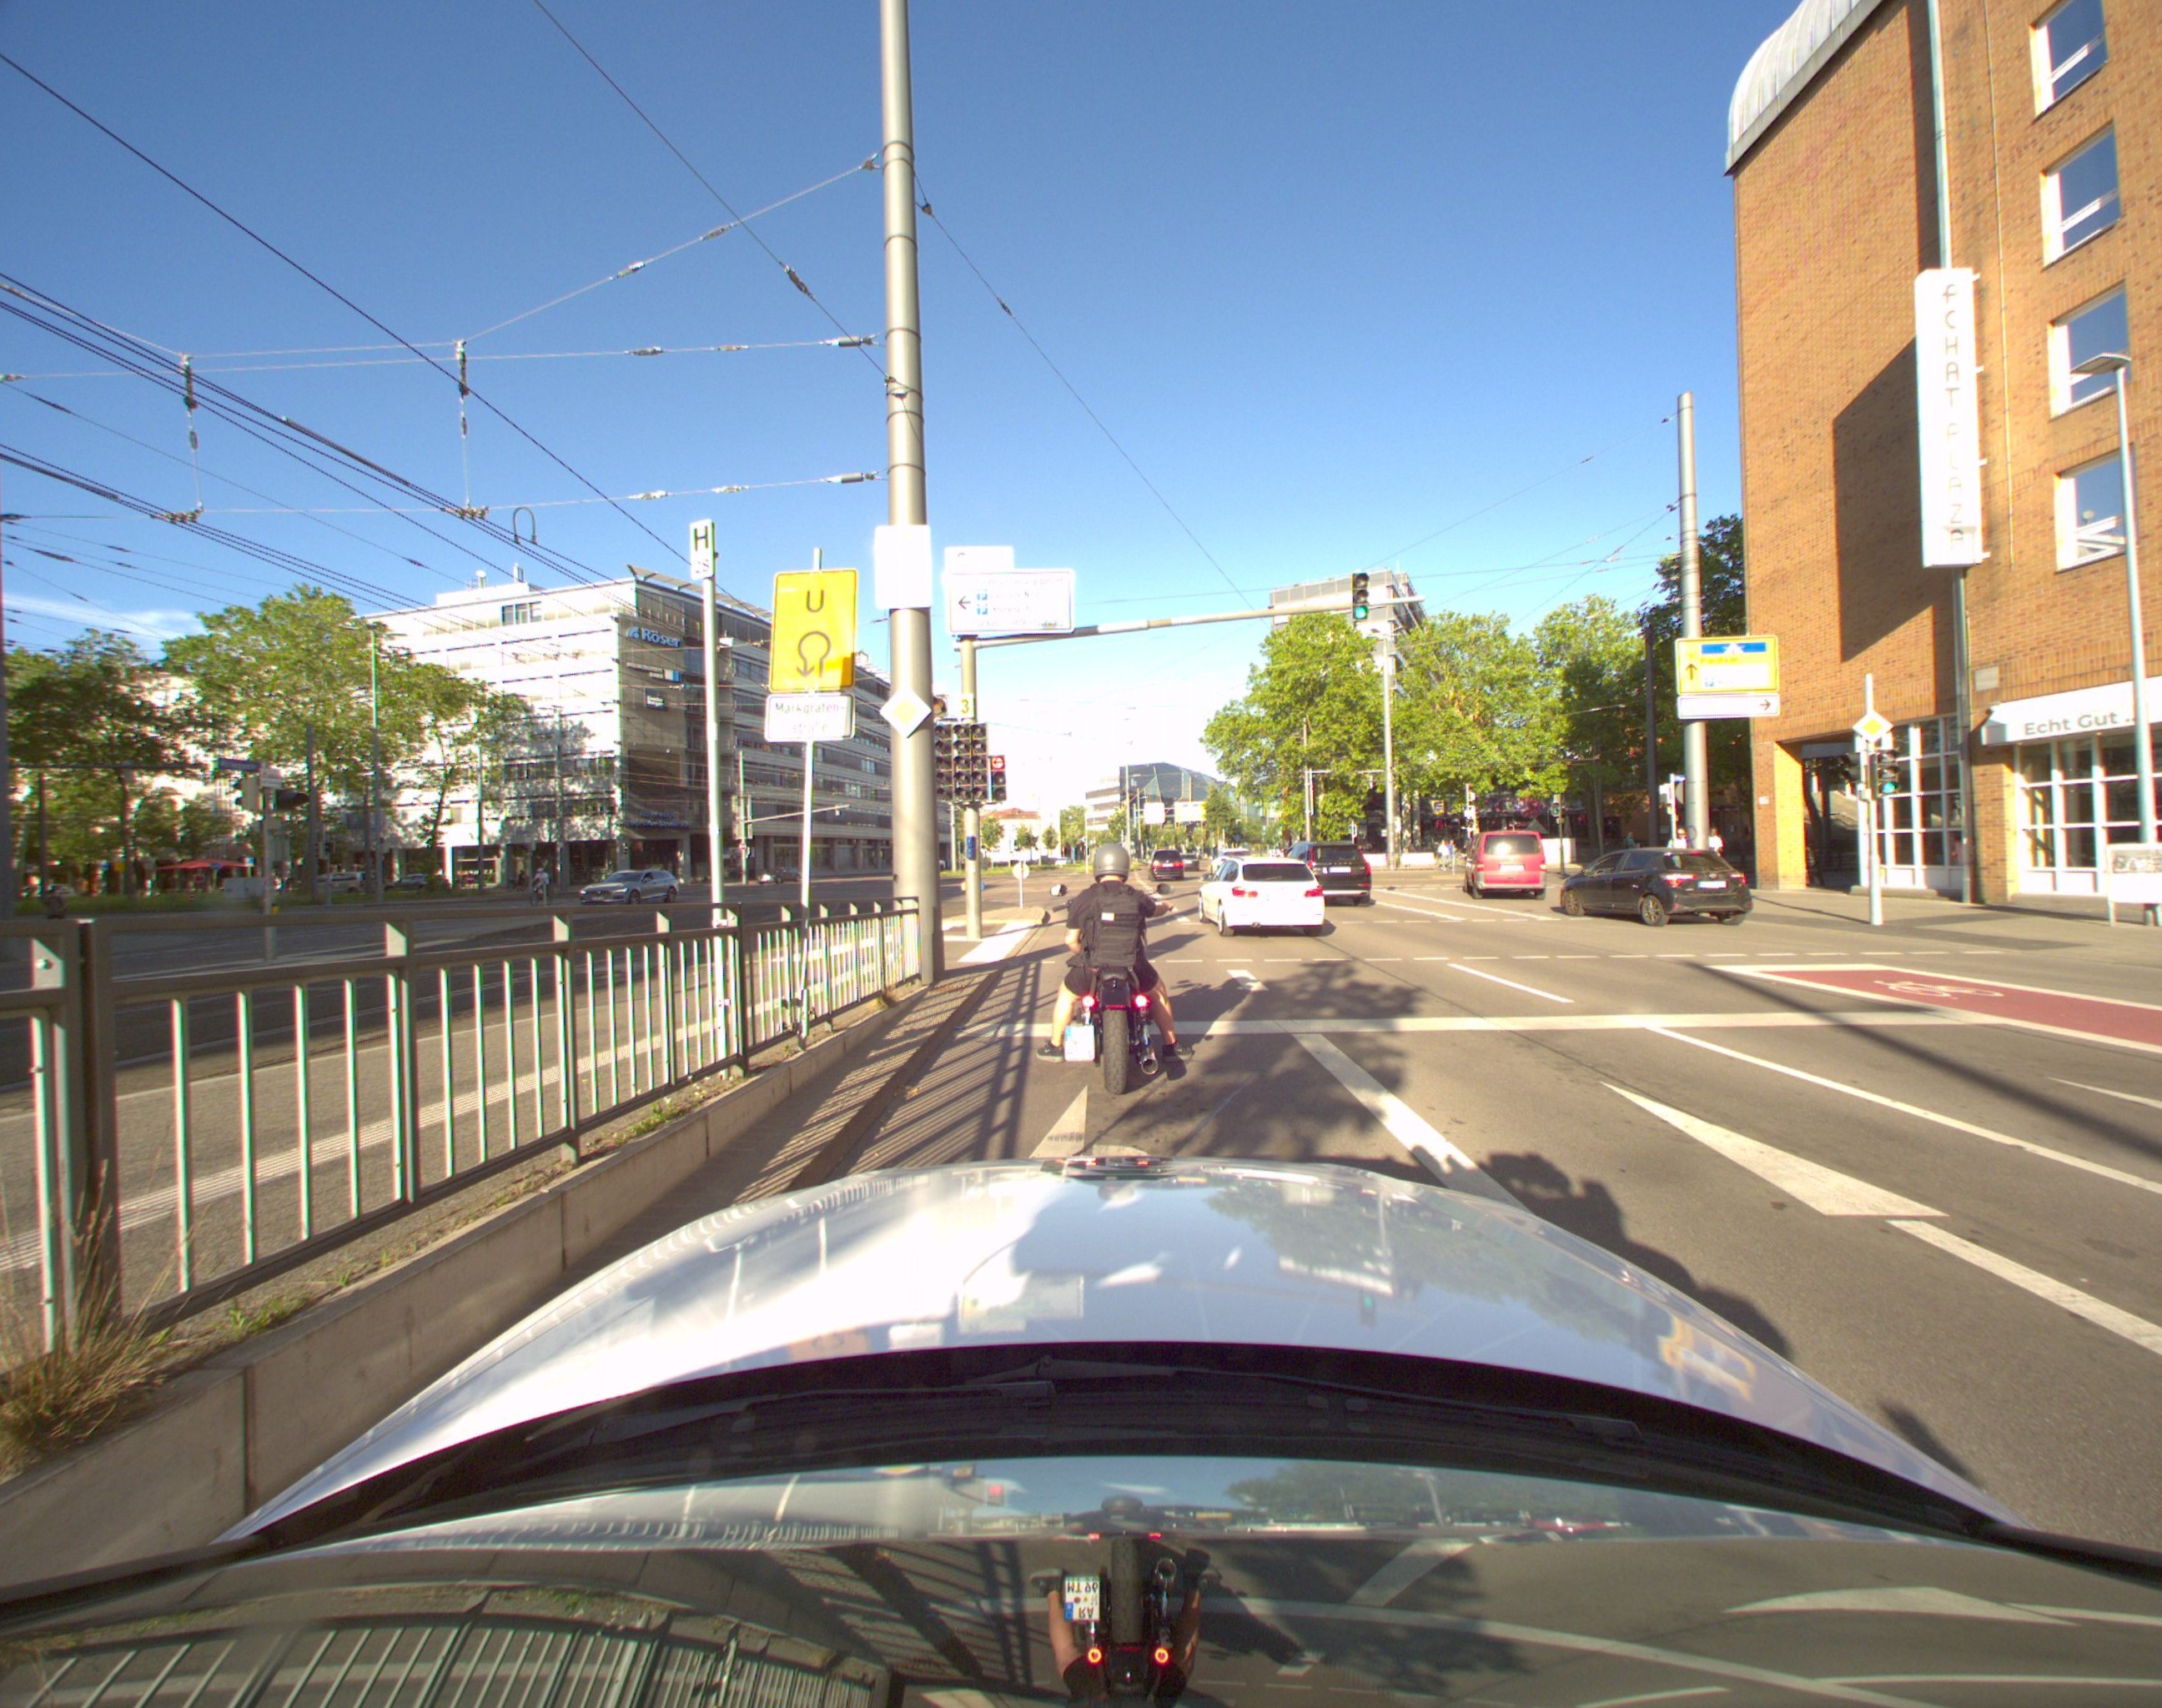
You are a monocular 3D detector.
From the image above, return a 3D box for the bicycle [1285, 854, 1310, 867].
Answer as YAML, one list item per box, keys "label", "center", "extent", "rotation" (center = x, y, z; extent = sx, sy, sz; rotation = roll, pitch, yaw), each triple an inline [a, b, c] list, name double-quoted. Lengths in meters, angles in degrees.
- label: "bicycle"
  center: [17.352, 0.507, 65.284]
  extent: [1.854, 1.044, 0.540]
  rotation: [-1, -1, 20]

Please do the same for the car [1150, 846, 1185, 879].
- label: "car"
  center: [4.604, 0.481, 43.686]
  extent: [1.795, 1.678, 4.046]
  rotation: [0, -1, 5]

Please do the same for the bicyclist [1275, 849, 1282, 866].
- label: "bicyclist"
  center: [15.767, 0.277, 64.894]
  extent: [0.346, 1.373, 0.378]
  rotation: [0, -1, -34]

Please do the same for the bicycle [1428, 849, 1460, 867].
- label: "bicycle"
  center: [25.136, 0.291, 56.368]
  extent: [2.034, 1.214, 0.421]
  rotation: [0, -1, 2]

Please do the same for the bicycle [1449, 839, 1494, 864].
- label: "bicycle"
  center: [21.655, -0.118, 45.149]
  extent: [2.926, 1.367, 0.721]
  rotation: [0, -1, -31]

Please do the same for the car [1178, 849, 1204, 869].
- label: "car"
  center: [9.339, 0.446, 69.446]
  extent: [1.797, 1.678, 4.041]
  rotation: [0, -1, 1]

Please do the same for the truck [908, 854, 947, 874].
- label: "truck"
  center: [-15.756, 1.026, 83.681]
  extent: [1.980, 1.879, 5.172]
  rotation: [-4, -1, 12]

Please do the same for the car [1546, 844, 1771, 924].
- label: "car"
  center: [11.662, 0.540, 16.832]
  extent: [1.727, 1.450, 4.037]
  rotation: [0, 0, -2]

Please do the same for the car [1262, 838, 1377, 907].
- label: "car"
  center: [6.520, 0.439, 22.803]
  extent: [1.727, 1.732, 4.608]
  rotation: [0, 1, -2]

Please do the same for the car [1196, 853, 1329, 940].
- label: "car"
  center: [3.364, 0.747, 15.911]
  extent: [1.725, 1.457, 4.419]
  rotation: [0, -1, 2]

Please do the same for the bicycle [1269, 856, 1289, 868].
- label: "bicycle"
  center: [15.763, 0.637, 64.885]
  extent: [0.359, 0.925, 1.812]
  rotation: [0, -1, -34]

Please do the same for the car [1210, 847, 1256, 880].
- label: "car"
  center: [7.625, 0.436, 41.146]
  extent: [1.725, 1.598, 4.043]
  rotation: [0, 0, 2]

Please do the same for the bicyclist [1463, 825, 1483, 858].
- label: "bicyclist"
  center: [21.750, -0.705, 45.208]
  extent: [0.730, 1.808, 0.693]
  rotation: [0, -1, -28]

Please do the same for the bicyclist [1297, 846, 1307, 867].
- label: "bicyclist"
  center: [17.670, 0.182, 65.172]
  extent: [0.682, 1.673, 0.544]
  rotation: [-2, -2, 21]

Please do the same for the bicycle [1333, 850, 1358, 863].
- label: "bicycle"
  center: [21.323, 0.220, 65.607]
  extent: [1.874, 1.046, 0.360]
  rotation: [0, -1, 1]

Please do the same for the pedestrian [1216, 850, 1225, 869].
- label: "pedestrian"
  center: [11.729, 0.473, 68.560]
  extent: [0.587, 1.557, 0.488]
  rotation: [0, -1, -6]

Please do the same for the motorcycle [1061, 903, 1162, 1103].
- label: "motorcycle"
  center: [0.216, 0.952, 5.948]
  extent: [0.598, 1.036, 2.235]
  rotation: [0, 0, 2]

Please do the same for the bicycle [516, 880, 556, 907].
- label: "bicycle"
  center: [-23.907, 1.730, 35.757]
  extent: [0.458, 1.090, 1.815]
  rotation: [-3, -1, 2]

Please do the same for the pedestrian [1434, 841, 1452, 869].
- label: "pedestrian"
  center: [20.345, 0.065, 45.742]
  extent: [0.568, 1.532, 0.696]
  rotation: [0, -1, -24]

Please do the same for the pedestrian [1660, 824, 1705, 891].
- label: "pedestrian"
  center: [16.690, 0.102, 22.605]
  extent: [0.591, 1.780, 0.681]
  rotation: [-5, -2, -1]

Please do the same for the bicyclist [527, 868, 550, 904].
- label: "bicyclist"
  center: [-23.906, 1.404, 35.892]
  extent: [0.584, 1.534, 0.650]
  rotation: [0, -1, 2]

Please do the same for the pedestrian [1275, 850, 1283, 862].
- label: "pedestrian"
  center: [21.999, 0.196, 90.655]
  extent: [0.814, 1.314, 0.640]
  rotation: [-1, -1, 11]

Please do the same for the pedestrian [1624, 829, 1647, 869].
- label: "pedestrian"
  center: [23.991, -0.216, 35.239]
  extent: [0.634, 1.700, 0.727]
  rotation: [-1, -1, 21]

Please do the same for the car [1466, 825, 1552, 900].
- label: "car"
  center: [12.764, 0.242, 24.545]
  extent: [1.787, 2.009, 4.497]
  rotation: [-3, -1, 22]

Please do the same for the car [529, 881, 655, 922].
- label: "car"
  center: [-13.906, 1.344, 23.304]
  extent: [2.884, 1.063, 1.235]
  rotation: [0, -1, -19]

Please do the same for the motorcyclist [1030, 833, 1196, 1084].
- label: "motorcyclist"
  center: [0.218, 0.673, 5.692]
  extent: [1.027, 1.593, 0.874]
  rotation: [-2, 0, 1]

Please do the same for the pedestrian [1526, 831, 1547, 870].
- label: "pedestrian"
  center: [22.792, -0.158, 40.753]
  extent: [0.783, 1.898, 0.821]
  rotation: [-1, -1, 21]

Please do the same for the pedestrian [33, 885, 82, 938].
- label: "pedestrian"
  center: [-33.814, 1.885, 26.916]
  extent: [0.587, 1.691, 0.795]
  rotation: [0, -1, 2]

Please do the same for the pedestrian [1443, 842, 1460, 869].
- label: "pedestrian"
  center: [20.900, 0.087, 45.949]
  extent: [0.568, 1.479, 0.696]
  rotation: [0, -1, -24]

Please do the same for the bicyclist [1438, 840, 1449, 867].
- label: "bicyclist"
  center: [25.072, -0.017, 56.376]
  extent: [0.582, 1.837, 0.403]
  rotation: [0, -1, 1]

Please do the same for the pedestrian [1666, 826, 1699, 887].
- label: "pedestrian"
  center: [17.865, 0.084, 24.182]
  extent: [0.727, 1.792, 0.515]
  rotation: [-1, -1, 42]

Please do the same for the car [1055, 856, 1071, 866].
- label: "car"
  center: [-2.982, 1.173, 135.915]
  extent: [1.815, 1.430, 4.540]
  rotation: [-2, 0, 8]

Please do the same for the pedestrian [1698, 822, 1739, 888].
- label: "pedestrian"
  center: [17.625, 0.040, 22.517]
  extent: [0.588, 1.780, 0.684]
  rotation: [-3, -1, 13]

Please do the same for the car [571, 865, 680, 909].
- label: "car"
  center: [-18.155, 1.277, 32.765]
  extent: [1.820, 1.568, 4.690]
  rotation: [-2, -1, -2]
